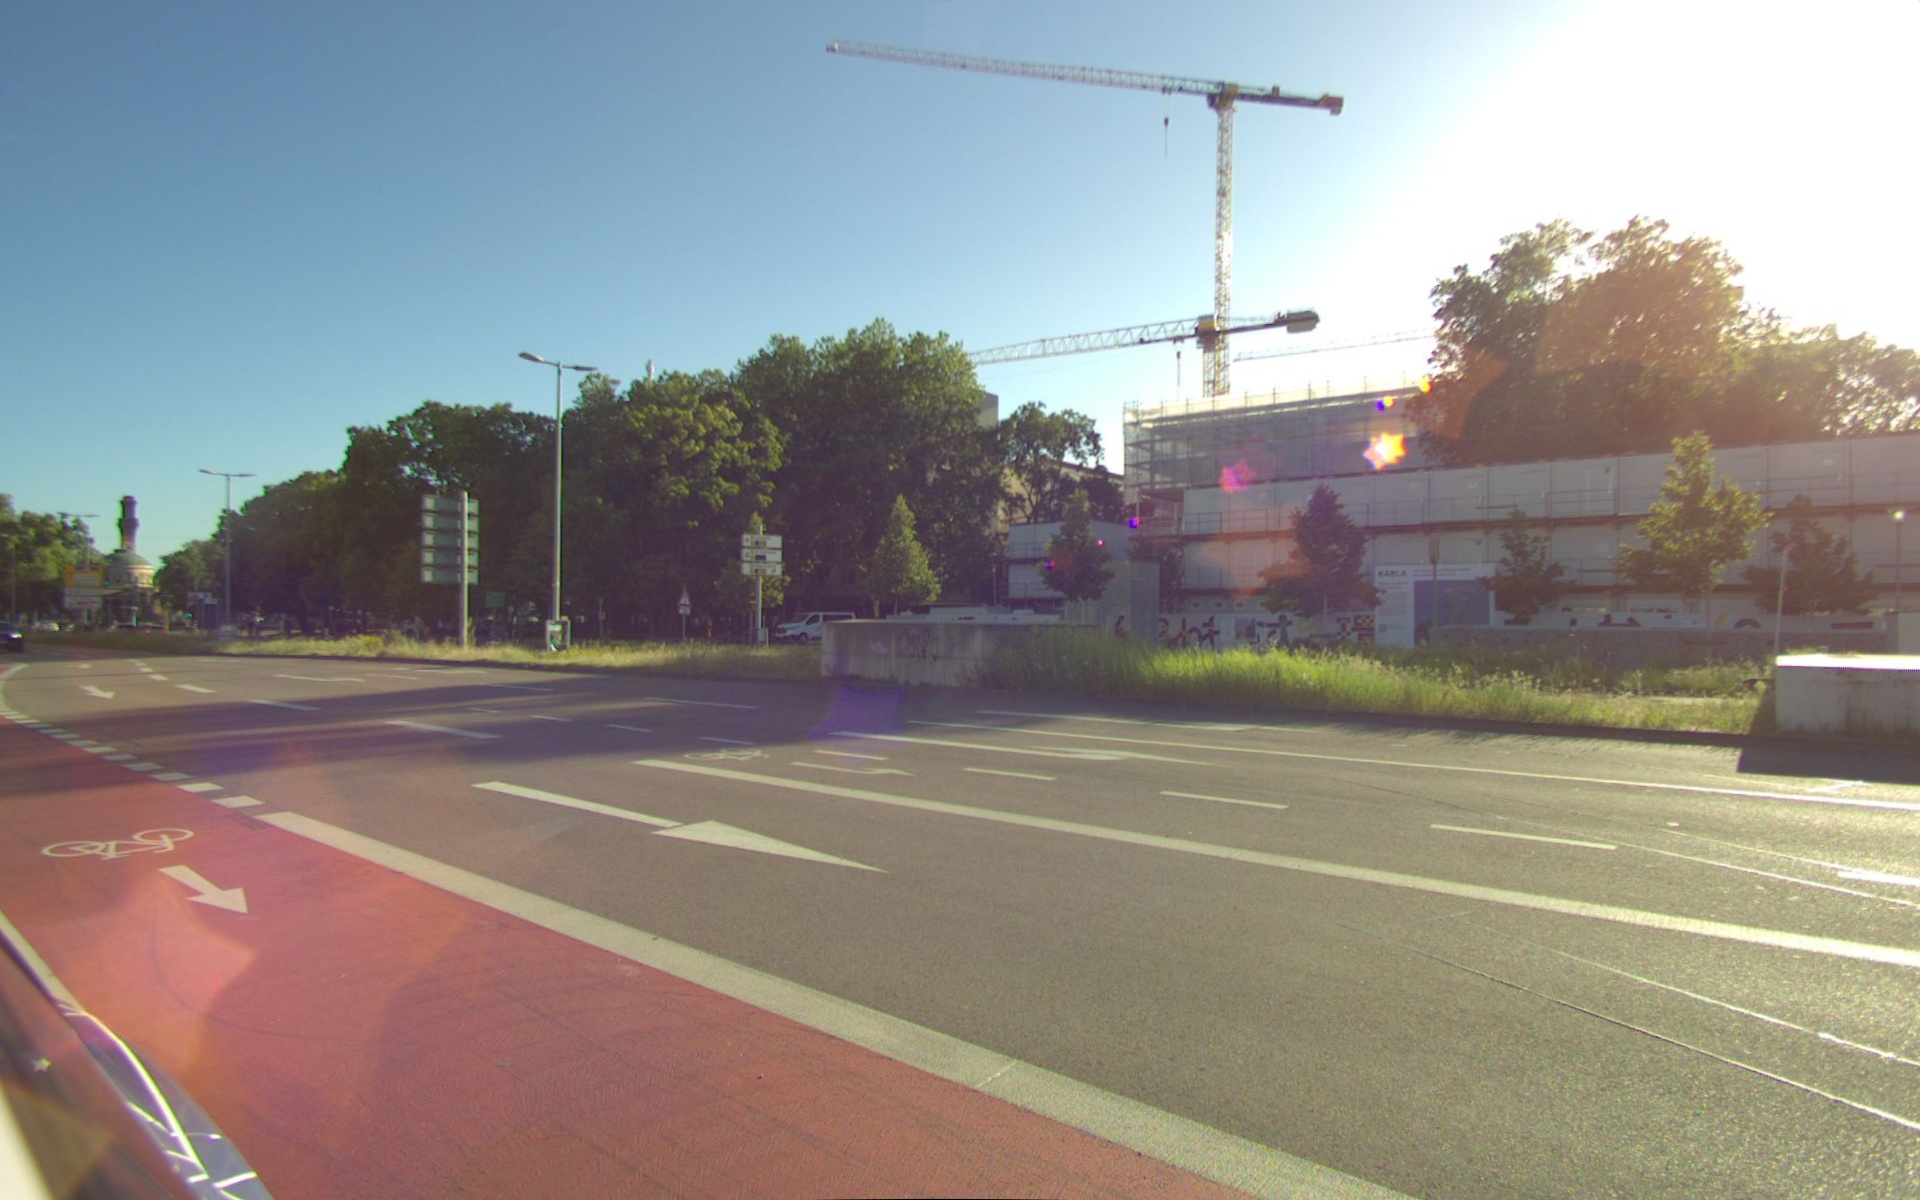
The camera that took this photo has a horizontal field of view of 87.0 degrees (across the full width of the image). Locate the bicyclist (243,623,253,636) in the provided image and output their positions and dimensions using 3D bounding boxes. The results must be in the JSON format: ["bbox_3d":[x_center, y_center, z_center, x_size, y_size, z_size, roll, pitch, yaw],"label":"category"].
[{"bbox_3d":[-71.943,2.944,102.286,0.714,1.291,0.603,-1,-2,40],"label":"bicyclist"}]

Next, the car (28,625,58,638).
[{"bbox_3d":[-102.529,3.555,113.171,3.995,1.409,1.849,-1,-2,39],"label":"car"}]

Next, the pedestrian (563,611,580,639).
[{"bbox_3d":[-24.594,1.585,64.064,0.762,1.738,0.656,-2,-2,41],"label":"pedestrian"}]

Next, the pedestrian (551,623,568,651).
[{"bbox_3d":[-25.185,2.326,63.596,0.762,1.738,0.698,-1,-2,41],"label":"pedestrian"}]

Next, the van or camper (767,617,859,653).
[{"bbox_3d":[-8.933,2.086,61.946,1.948,2.029,5.576,-1,0,42],"label":"van or camper"}]

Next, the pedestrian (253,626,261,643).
[{"bbox_3d":[-75.536,3.715,108.691,0.618,1.862,0.927,1,-2,-36],"label":"pedestrian"}]

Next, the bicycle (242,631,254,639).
[{"bbox_3d":[-71.945,3.547,102.269,1.744,0.849,0.602,-1,-2,40],"label":"bicycle"}]

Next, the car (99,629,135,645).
[{"bbox_3d":[-76.882,3.380,92.269,3.996,1.409,1.849,-1,-2,40],"label":"car"}]

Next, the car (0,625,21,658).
[{"bbox_3d":[-51.280,2.171,53.408,4.612,1.656,1.913,-1,-1,39],"label":"car"}]

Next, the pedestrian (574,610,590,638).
[{"bbox_3d":[-24.088,1.523,64.490,0.762,1.738,0.698,-2,-2,41],"label":"pedestrian"}]

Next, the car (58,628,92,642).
[{"bbox_3d":[-88.685,3.519,101.434,3.995,1.409,1.850,-1,-2,38],"label":"car"}]

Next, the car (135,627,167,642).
[{"bbox_3d":[-84.010,3.550,105.089,4.000,1.519,1.972,-1,-2,43],"label":"car"}]
